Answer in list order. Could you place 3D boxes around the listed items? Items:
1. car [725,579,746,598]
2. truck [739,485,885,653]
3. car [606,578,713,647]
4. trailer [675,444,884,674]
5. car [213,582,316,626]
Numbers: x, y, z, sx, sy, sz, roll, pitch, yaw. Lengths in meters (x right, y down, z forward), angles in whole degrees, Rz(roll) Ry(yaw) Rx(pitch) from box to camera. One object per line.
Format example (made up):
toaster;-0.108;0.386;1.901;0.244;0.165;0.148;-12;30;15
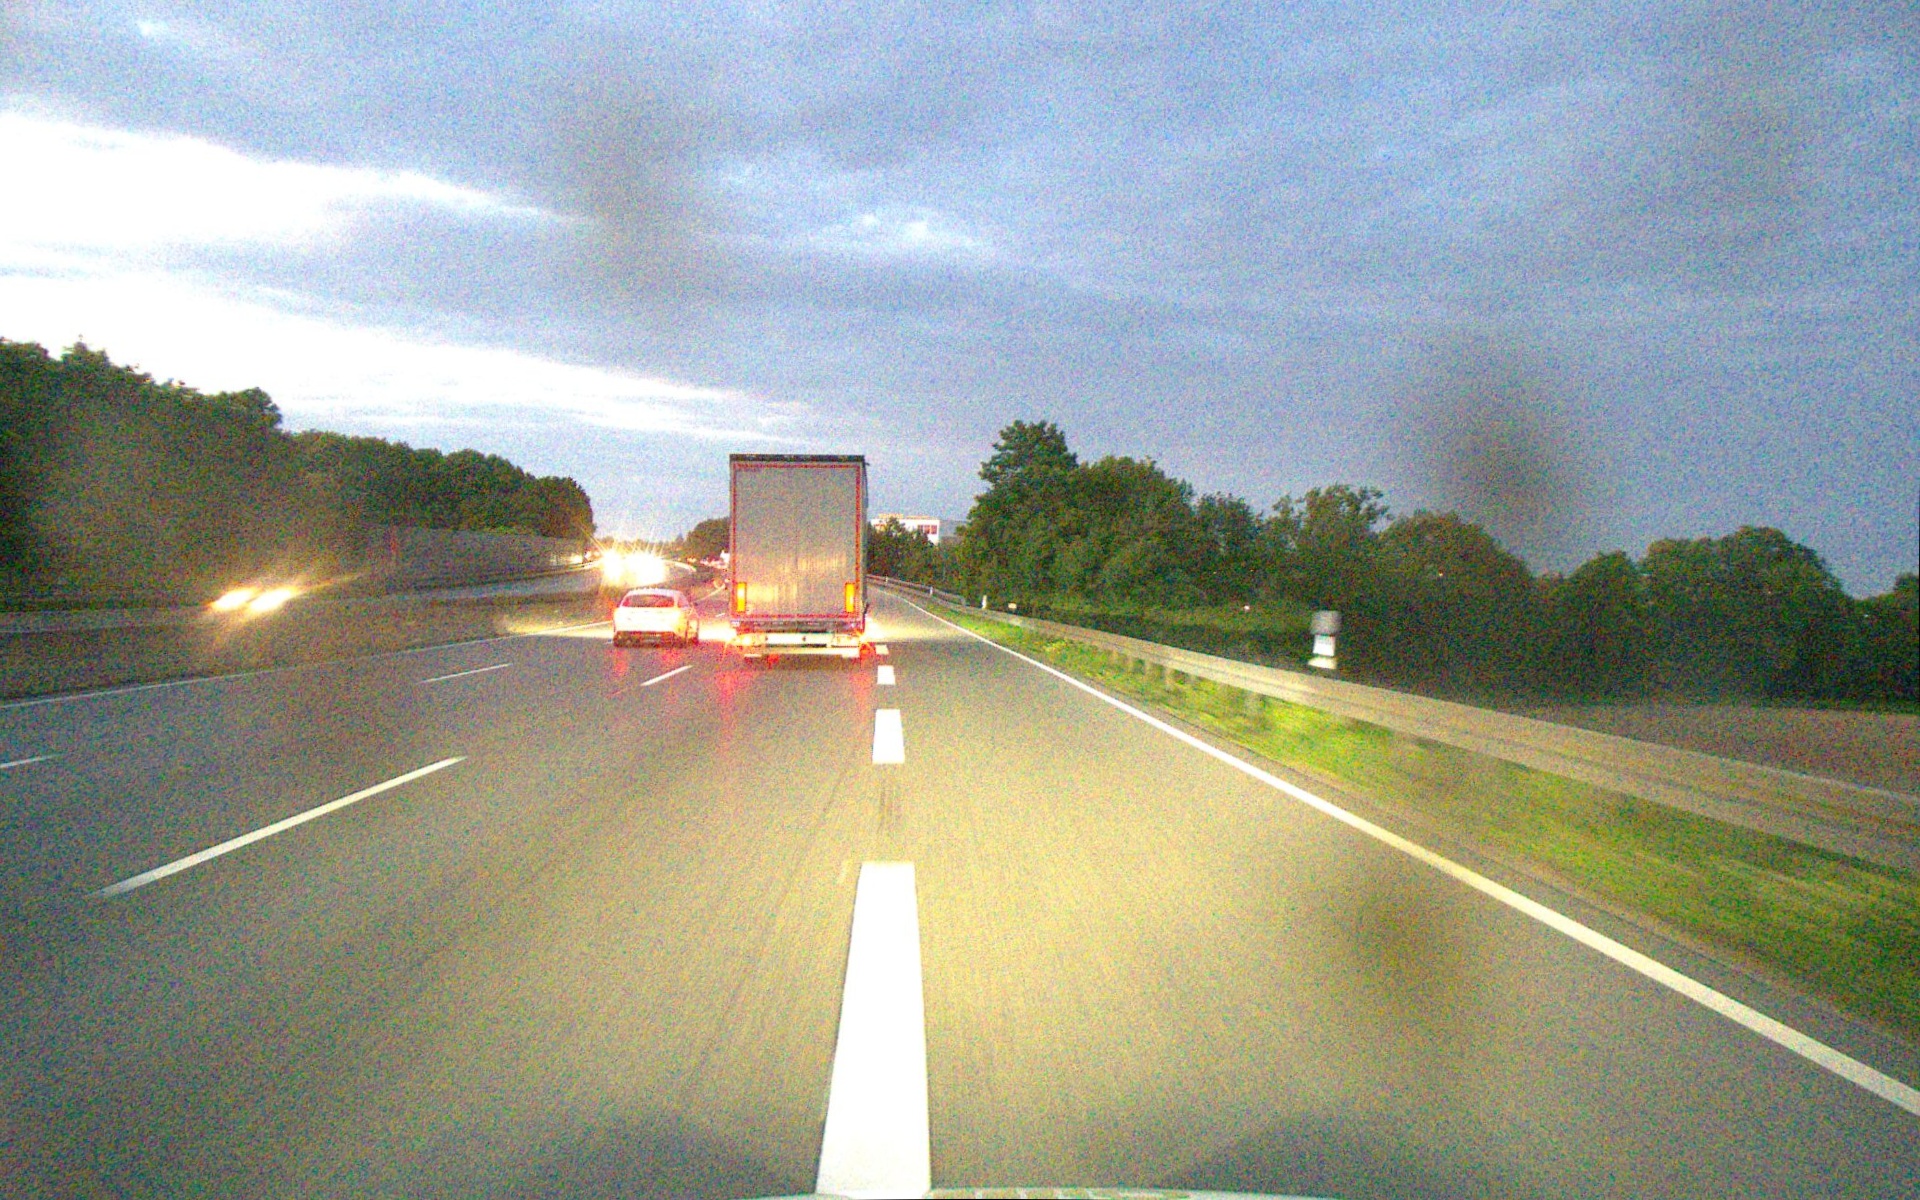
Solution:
car;-21.273;-1.084;156.679;1.728;1.602;4.570;2;-2;-6
truck;-3.817;-0.784;44.137;3.479;4.162;6.149;0;0;-2
car;-7.725;0.376;42.908;1.867;1.643;4.802;1;-2;0
trailer;-3.636;-0.758;37.643;3.478;4.188;15.058;0;0;-2
car;-24.390;0.151;58.198;1.953;1.444;4.150;2;0;-2
